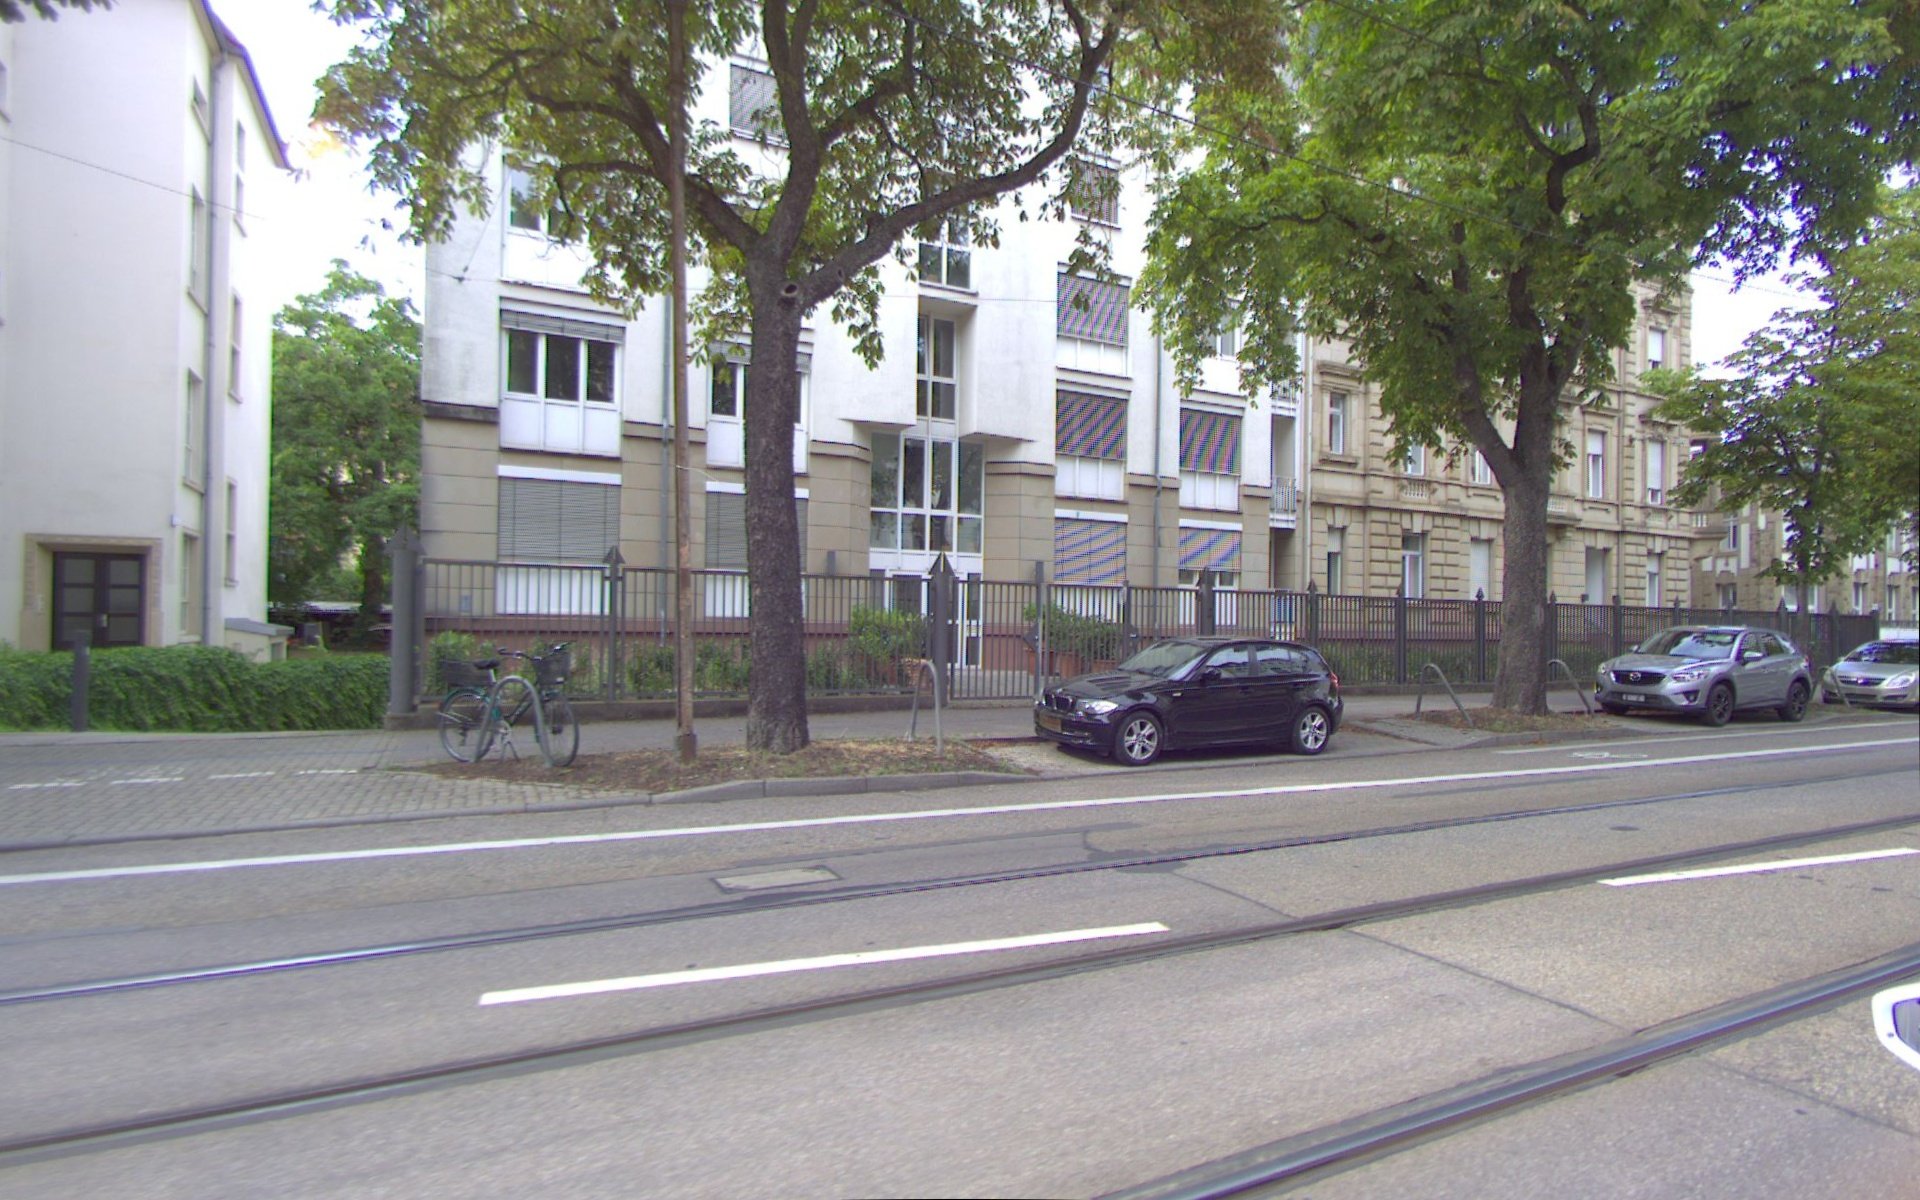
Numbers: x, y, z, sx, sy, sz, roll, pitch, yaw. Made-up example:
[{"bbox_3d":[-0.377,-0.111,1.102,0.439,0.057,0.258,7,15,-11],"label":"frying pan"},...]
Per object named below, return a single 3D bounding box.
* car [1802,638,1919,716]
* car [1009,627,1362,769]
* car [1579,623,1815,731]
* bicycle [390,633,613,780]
[{"bbox_3d":[19.797,1.579,21.303,4.028,1.487,1.594,1,-1,-28],"label":"car"},{"bbox_3d":[2.843,1.134,12.563,4.110,1.444,1.714,2,1,-26],"label":"car"},{"bbox_3d":[13.198,1.305,17.953,4.302,1.696,1.704,1,-1,-28],"label":"car"},{"bbox_3d":[-4.432,0.957,9.661,2.196,1.191,0.834,1,0,31],"label":"bicycle"}]
